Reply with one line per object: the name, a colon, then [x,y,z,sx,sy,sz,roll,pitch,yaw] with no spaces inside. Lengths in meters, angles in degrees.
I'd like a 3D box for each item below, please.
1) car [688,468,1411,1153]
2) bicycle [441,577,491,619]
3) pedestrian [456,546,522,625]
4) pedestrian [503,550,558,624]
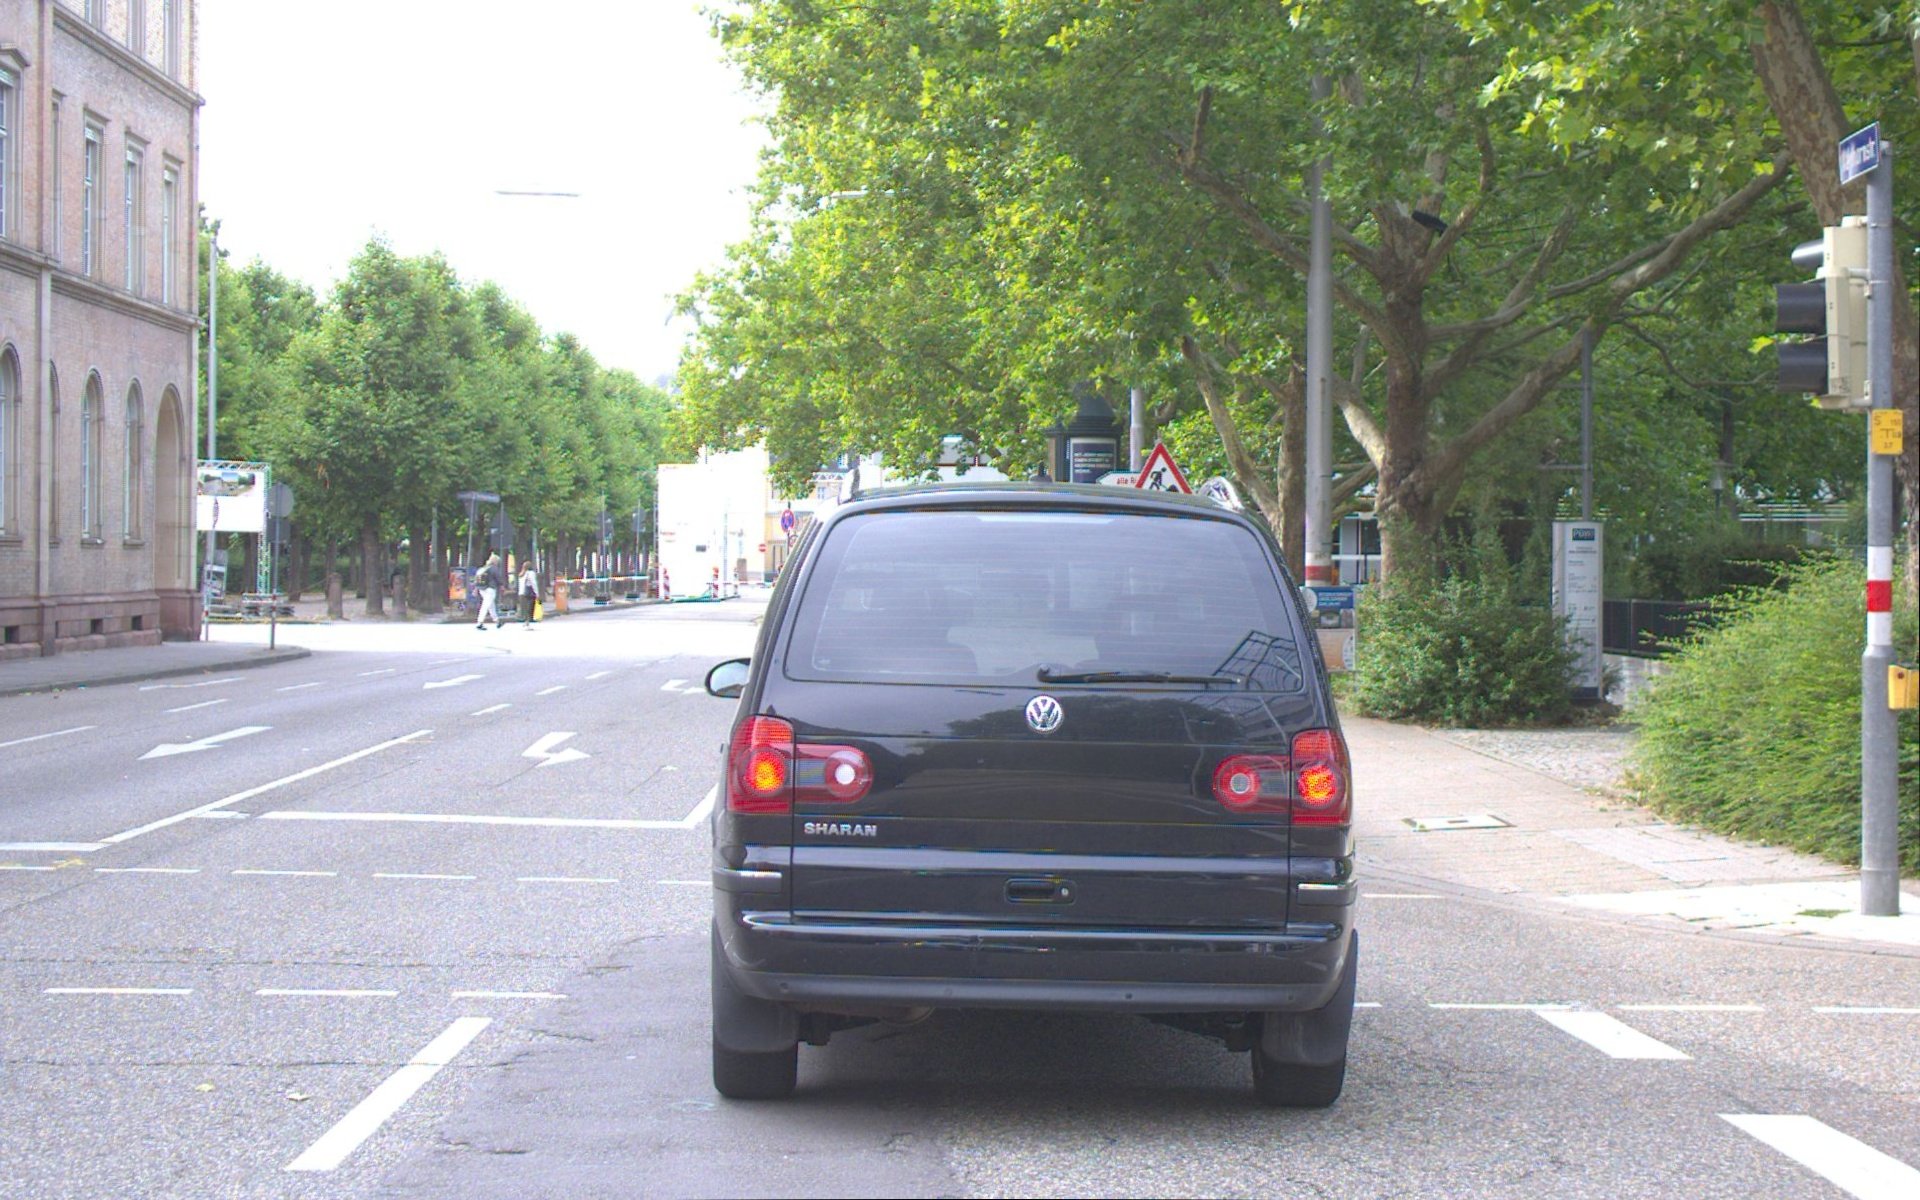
car: [0.180,0.496,10.667,1.793,1.702,4.131,0,1,-1]
bicycle: [-14.132,-0.055,98.275,0.952,1.106,2.580,2,1,-18]
pedestrian: [-10.624,-0.321,77.530,0.961,1.735,1.255,3,1,18]
pedestrian: [-9.647,-0.294,77.230,0.897,1.635,0.852,3,1,18]
